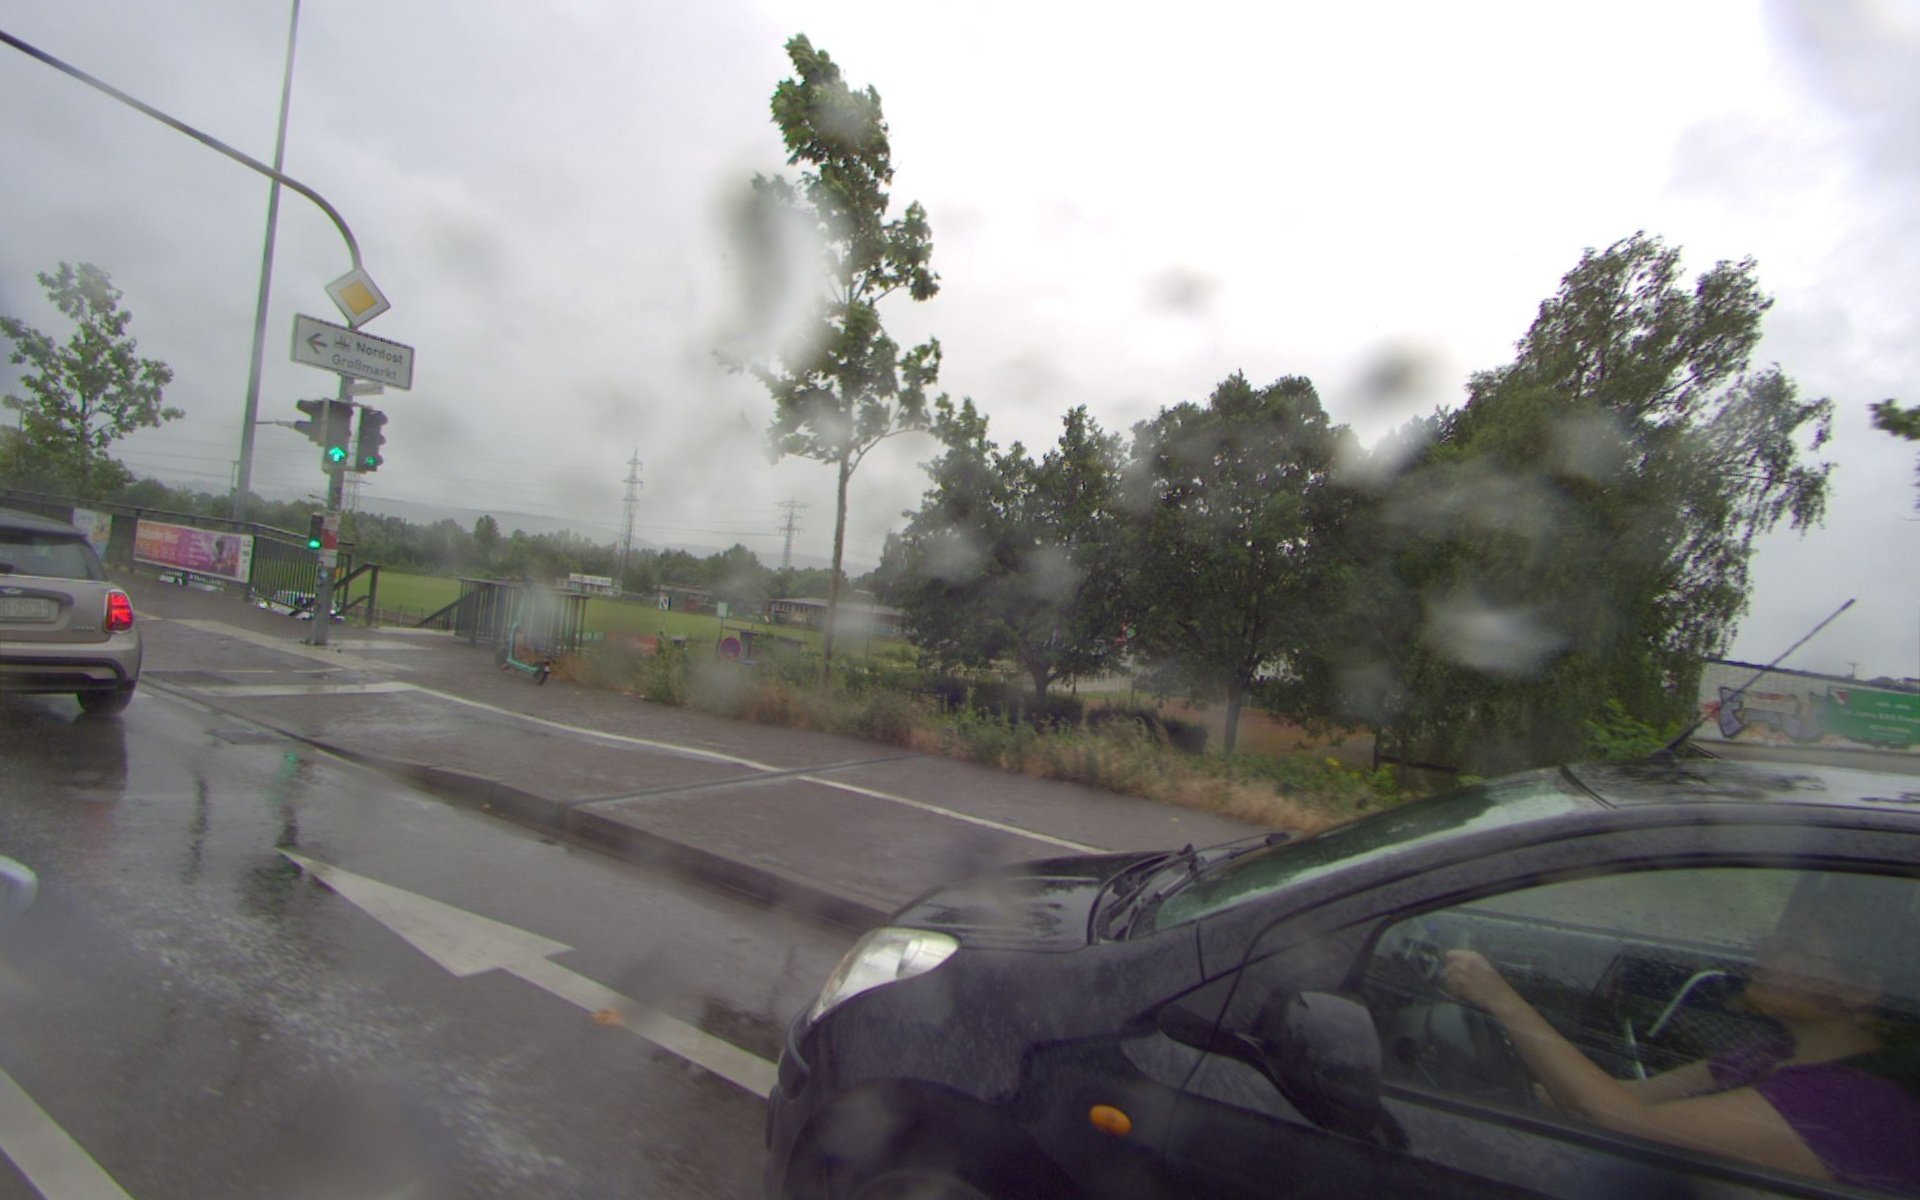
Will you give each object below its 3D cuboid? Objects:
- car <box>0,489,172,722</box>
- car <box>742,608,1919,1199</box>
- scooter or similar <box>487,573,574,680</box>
[{"bbox_3d":[-7.796,-0.124,7.553,3.564,1.525,1.717,6,-2,32],"label":"car"},{"bbox_3d":[1.559,0.995,1.648,3.564,1.445,1.632,7,-2,32],"label":"car"},{"bbox_3d":[-5.191,0.310,12.139,1.167,1.171,0.246,6,-1,34],"label":"scooter or similar"}]
